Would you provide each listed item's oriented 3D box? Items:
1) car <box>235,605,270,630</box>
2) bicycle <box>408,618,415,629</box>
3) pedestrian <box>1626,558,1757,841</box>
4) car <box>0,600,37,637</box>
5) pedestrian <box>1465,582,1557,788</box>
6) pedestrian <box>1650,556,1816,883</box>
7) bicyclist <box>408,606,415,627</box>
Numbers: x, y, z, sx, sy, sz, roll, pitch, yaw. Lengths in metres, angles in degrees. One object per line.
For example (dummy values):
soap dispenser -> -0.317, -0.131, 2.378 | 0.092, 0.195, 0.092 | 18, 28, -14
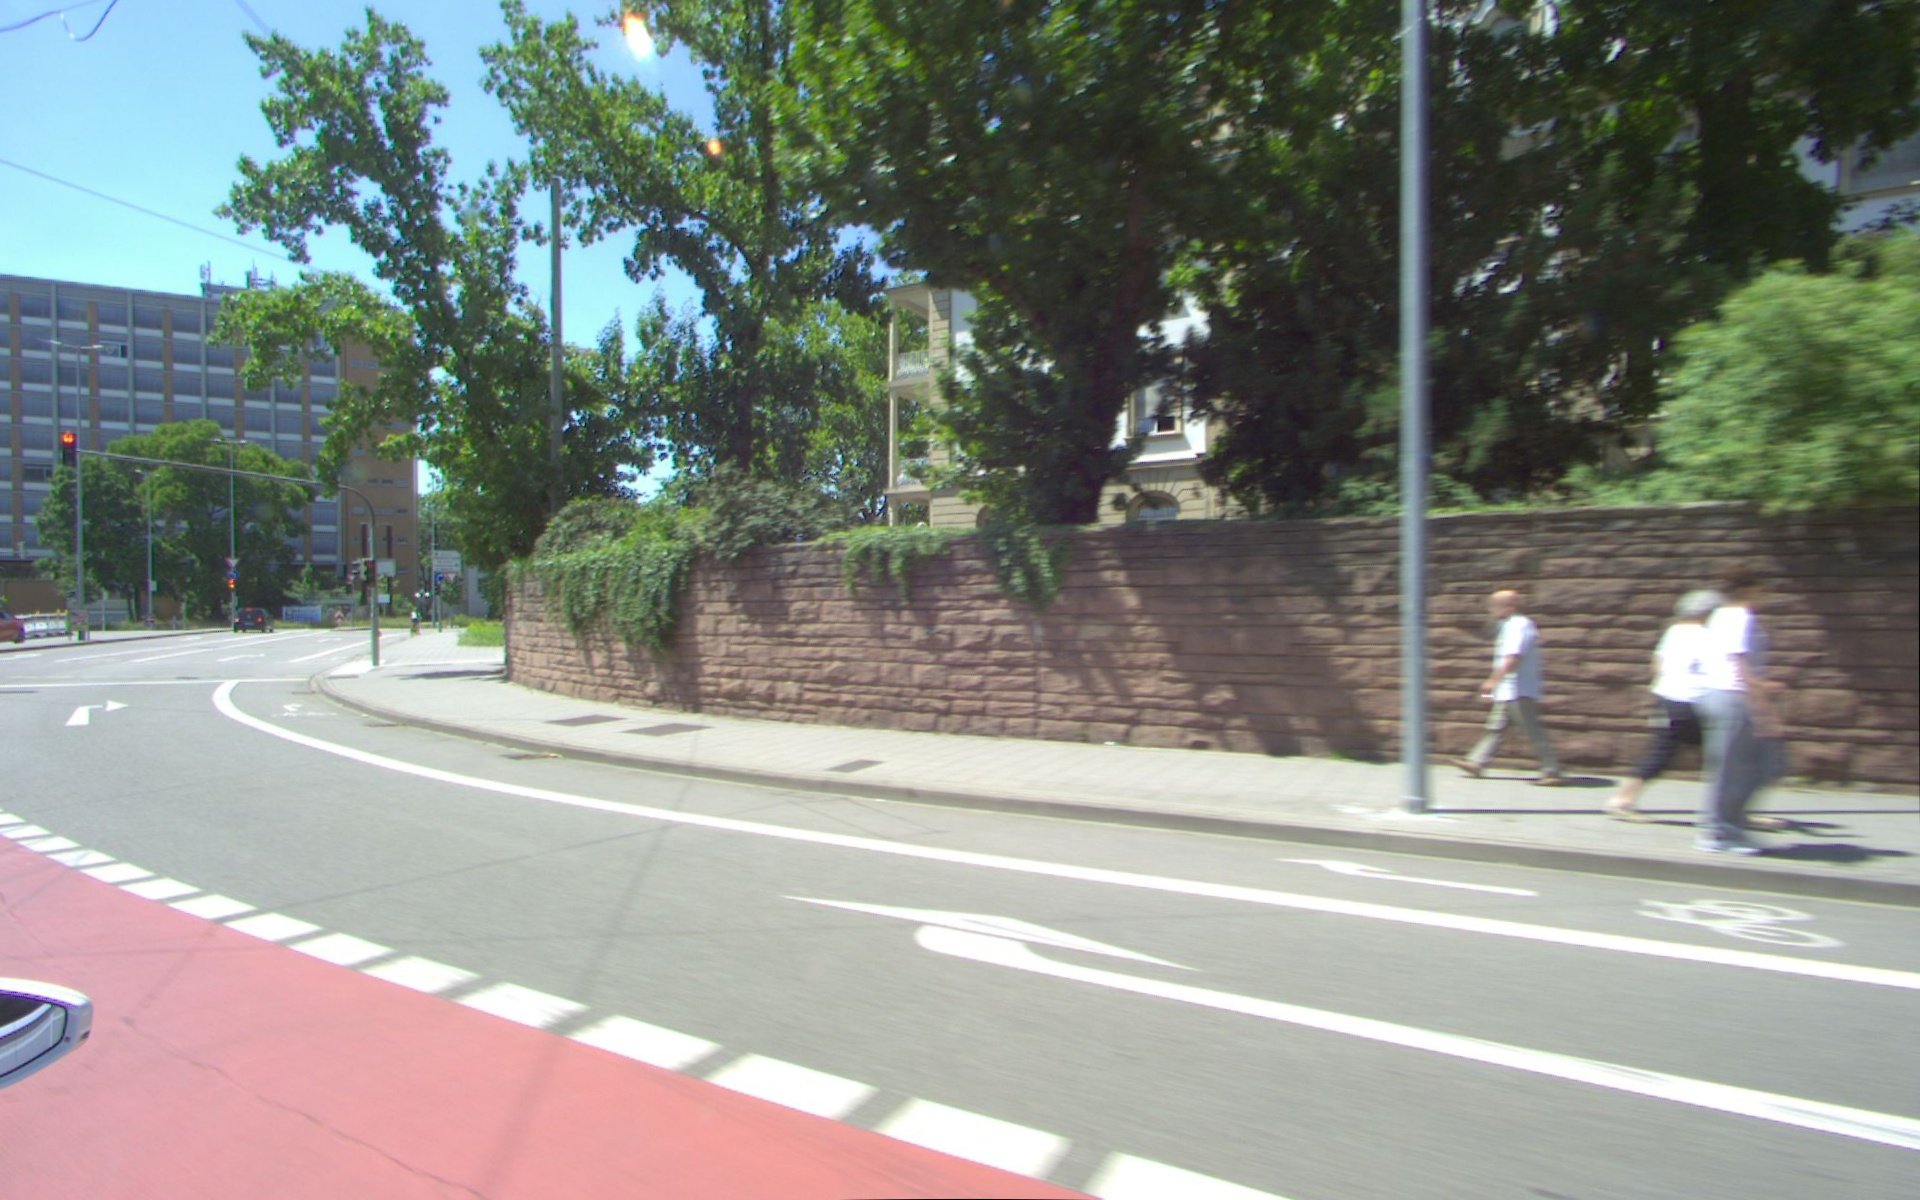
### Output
car -> -44.008, 1.061, 62.335 | 1.672, 1.547, 3.665 | 0, 0, -35
bicycle -> -33.097, 1.434, 60.461 | 0.372, 0.654, 1.636 | 0, 0, -29
pedestrian -> 5.083, 0.648, 7.008 | 0.690, 1.832, 0.812 | 0, 1, 34
car -> -38.434, 0.738, 39.485 | 1.708, 1.443, 4.111 | 0, -1, -23
pedestrian -> 4.703, 0.690, 8.542 | 0.616, 1.669, 0.659 | 0, 1, 35
pedestrian -> 4.658, 0.672, 6.089 | 0.737, 1.832, 0.675 | 0, 1, 34
bicyclist -> -33.128, 1.000, 60.510 | 0.348, 1.244, 0.561 | 0, 1, -30
